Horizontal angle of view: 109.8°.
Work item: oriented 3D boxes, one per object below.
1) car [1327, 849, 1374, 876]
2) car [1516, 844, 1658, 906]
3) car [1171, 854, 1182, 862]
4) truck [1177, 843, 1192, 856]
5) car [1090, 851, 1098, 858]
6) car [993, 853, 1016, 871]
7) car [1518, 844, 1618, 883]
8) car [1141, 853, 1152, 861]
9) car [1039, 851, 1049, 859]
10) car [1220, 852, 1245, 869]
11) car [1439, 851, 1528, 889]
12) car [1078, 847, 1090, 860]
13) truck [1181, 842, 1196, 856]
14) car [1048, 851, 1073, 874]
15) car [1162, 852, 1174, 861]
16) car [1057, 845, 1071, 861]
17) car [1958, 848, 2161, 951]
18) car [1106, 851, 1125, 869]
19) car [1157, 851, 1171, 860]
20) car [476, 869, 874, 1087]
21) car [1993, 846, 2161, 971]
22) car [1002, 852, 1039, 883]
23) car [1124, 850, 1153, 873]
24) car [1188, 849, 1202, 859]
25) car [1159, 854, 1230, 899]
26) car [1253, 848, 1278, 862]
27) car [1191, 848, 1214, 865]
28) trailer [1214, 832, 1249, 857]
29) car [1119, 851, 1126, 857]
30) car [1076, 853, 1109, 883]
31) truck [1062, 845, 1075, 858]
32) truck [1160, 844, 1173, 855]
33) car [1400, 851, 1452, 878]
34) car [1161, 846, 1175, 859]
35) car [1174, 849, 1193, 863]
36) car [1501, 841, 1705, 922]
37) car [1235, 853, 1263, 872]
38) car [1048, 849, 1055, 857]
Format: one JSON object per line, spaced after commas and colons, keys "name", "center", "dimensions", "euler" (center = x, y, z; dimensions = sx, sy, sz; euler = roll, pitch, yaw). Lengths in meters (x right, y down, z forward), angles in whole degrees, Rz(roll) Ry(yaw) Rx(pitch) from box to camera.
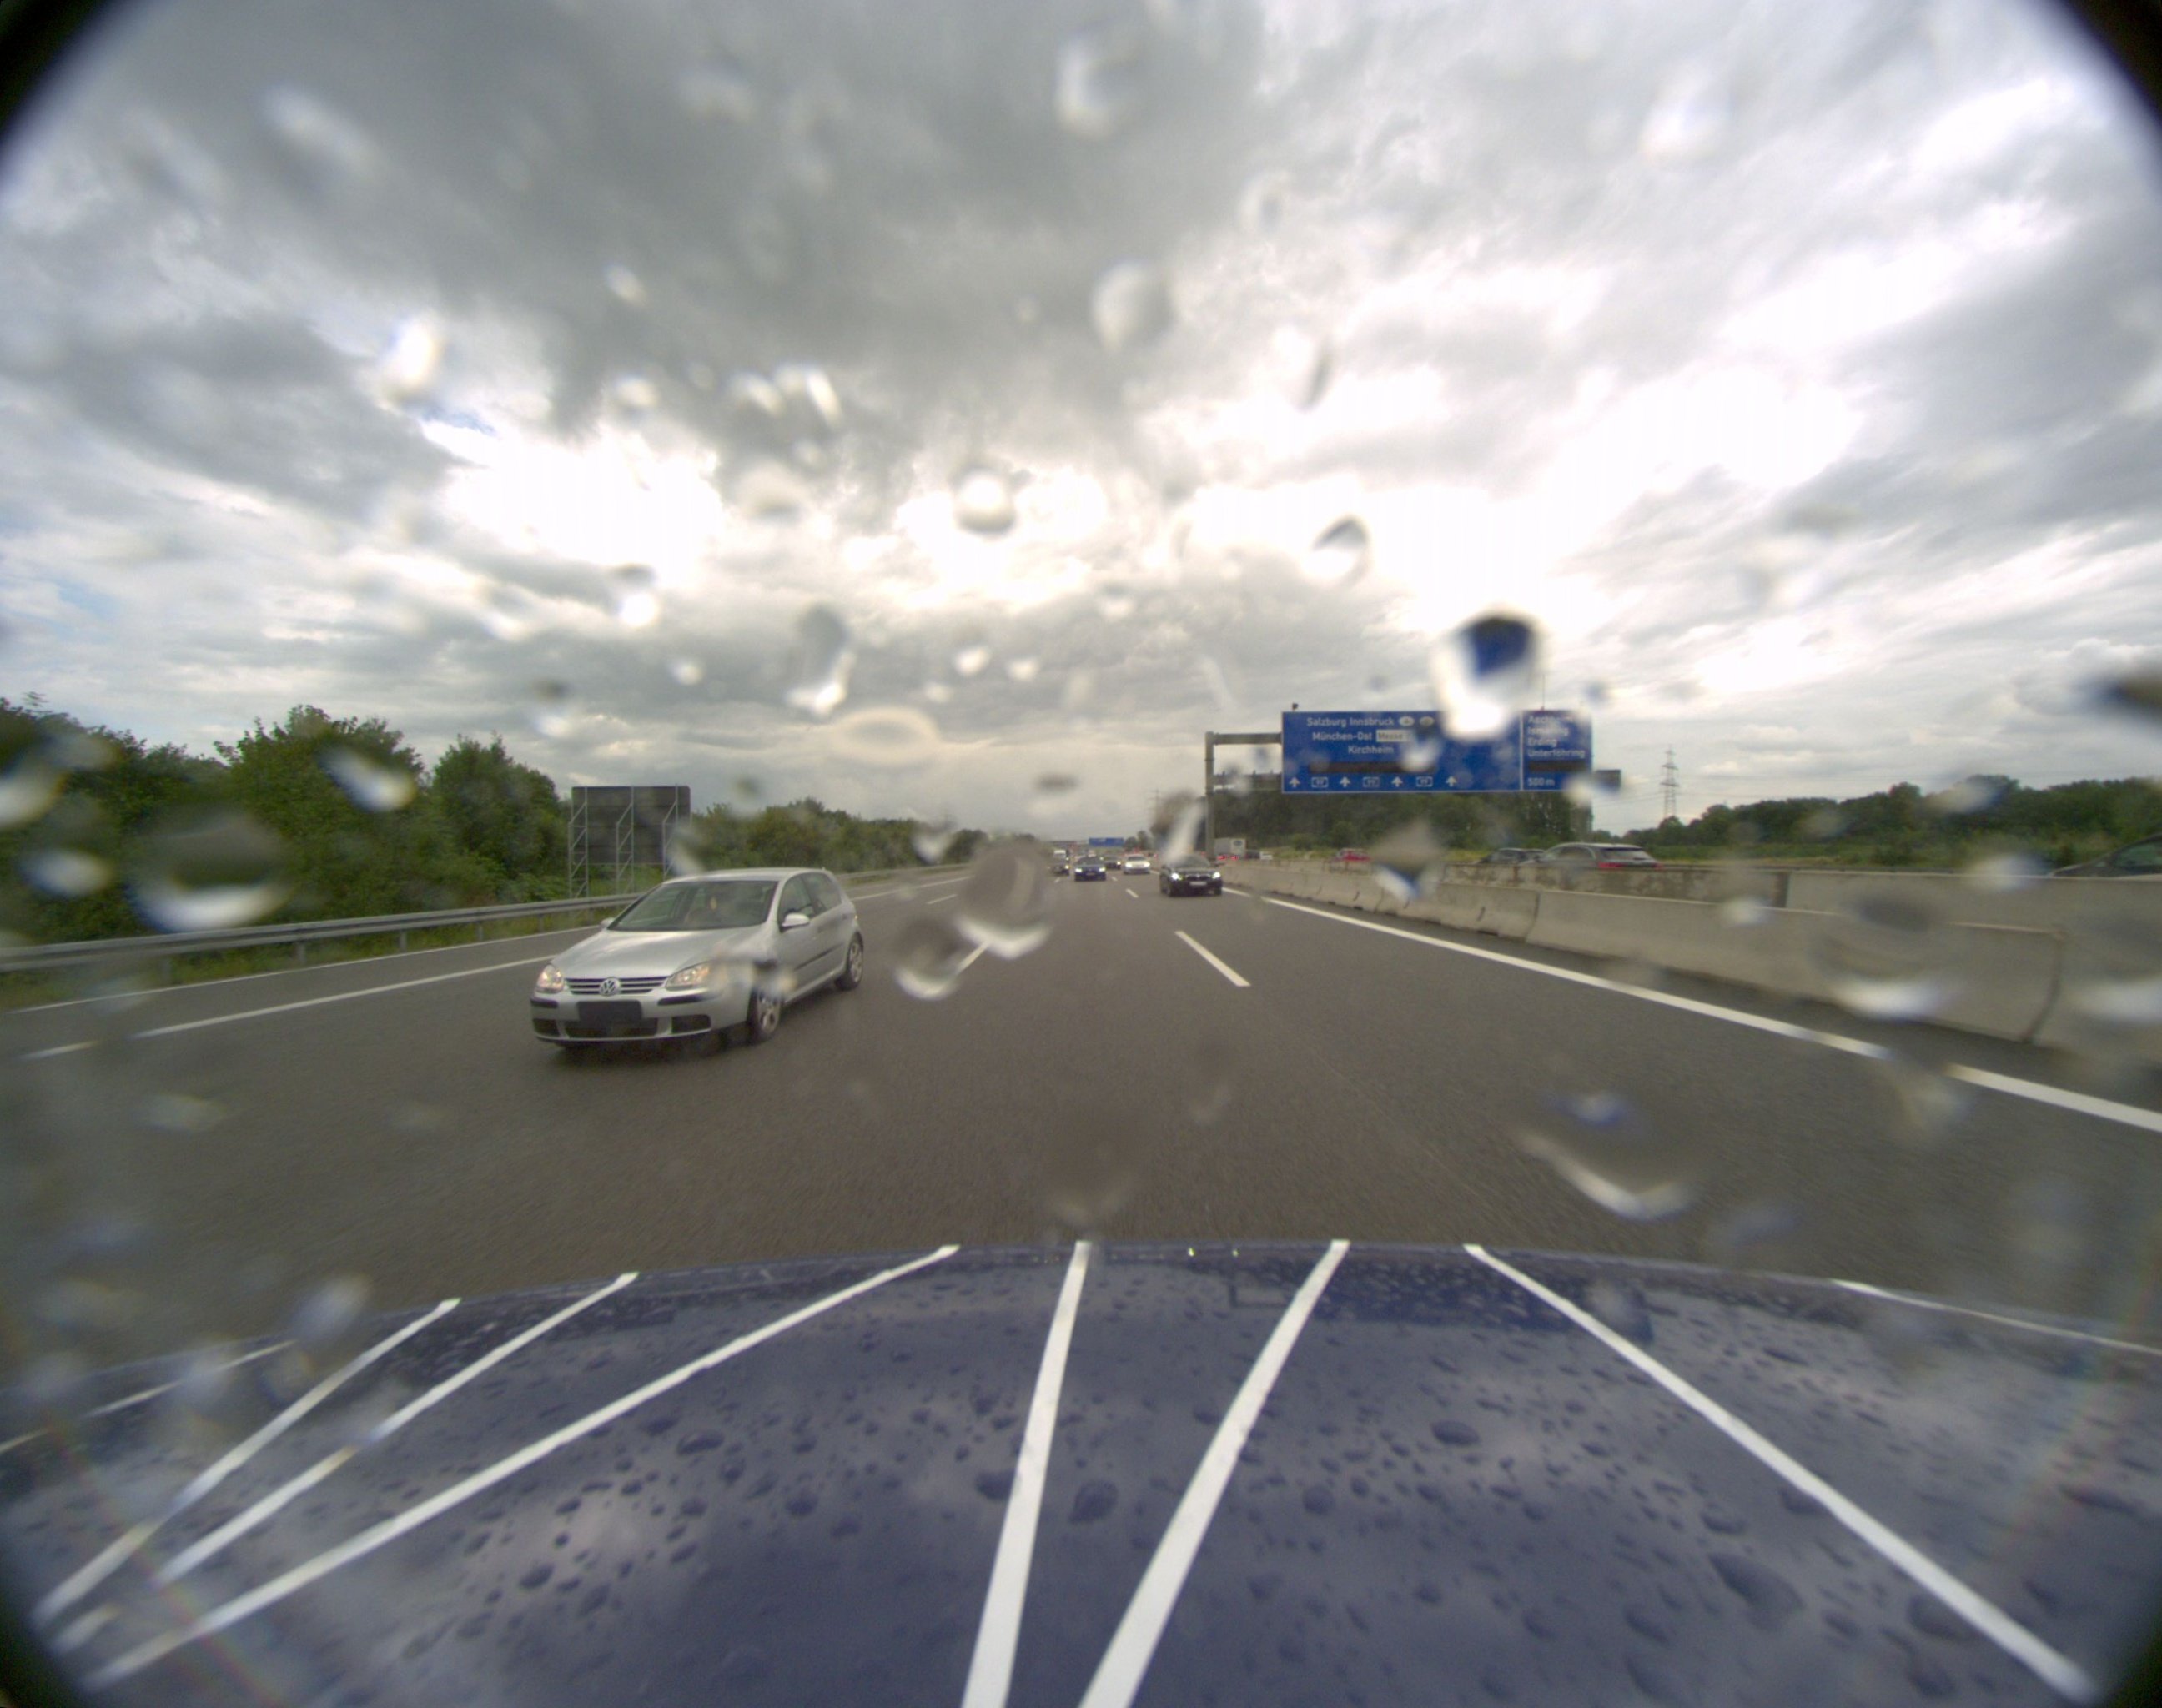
{"name": "car", "center": [18.359, 0.548, 52.012], "dimensions": [1.682, 1.735, 4.337], "euler": [-2, 0, 0]}
{"name": "car", "center": [18.234, 0.705, 27.712], "dimensions": [1.998, 2.002, 4.764], "euler": [-2, 0, 1]}
{"name": "car", "center": [21.748, 0.846, 173.053], "dimensions": [1.999, 1.704, 4.698], "euler": [-2, 0, 0]}
{"name": "truck", "center": [29.680, -1.363, 218.728], "dimensions": [2.885, 3.591, 10.311], "euler": [-2, 0, 1]}
{"name": "car", "center": [3.606, 0.080, 211.358], "dimensions": [1.998, 2.002, 4.751], "euler": [-2, 0, 1]}
{"name": "car", "center": [-7.268, 0.713, 72.207], "dimensions": [1.815, 1.589, 4.694], "euler": [-2, 0, -2]}
{"name": "car", "center": [26.851, 0.488, 42.155], "dimensions": [2.248, 1.941, 5.225], "euler": [-2, 0, 1]}
{"name": "car", "center": [13.930, 0.596, 162.624], "dimensions": [1.999, 1.739, 4.000], "euler": [-2, 0, 0]}
{"name": "car", "center": [-7.800, 0.176, 160.531], "dimensions": [1.892, 1.740, 4.000], "euler": [-2, 0, 1]}
{"name": "car", "center": [15.118, 0.608, 75.972], "dimensions": [1.733, 1.586, 4.000], "euler": [-2, 0, 0]}
{"name": "car", "center": [22.511, 0.828, 42.763], "dimensions": [2.248, 1.941, 5.225], "euler": [-2, 0, 1]}
{"name": "car", "center": [0.619, -0.067, 144.434], "dimensions": [2.145, 2.486, 5.447], "euler": [-2, 0, 0]}
{"name": "truck", "center": [29.572, -1.349, 209.547], "dimensions": [2.885, 3.591, 9.580], "euler": [-2, 0, 1]}
{"name": "car", "center": [-1.539, 0.617, 58.334], "dimensions": [1.711, 1.621, 4.457], "euler": [-2, 0, 1]}
{"name": "car", "center": [18.754, 0.506, 163.256], "dimensions": [1.999, 1.704, 4.698], "euler": [-2, 0, 0]}
{"name": "car", "center": [-2.901, -0.167, 130.142], "dimensions": [2.145, 2.486, 5.447], "euler": [-2, 0, -1]}
{"name": "car", "center": [21.770, 0.870, 15.386], "dimensions": [1.998, 1.941, 5.225], "euler": [-2, 0, 1]}
{"name": "car", "center": [3.320, 0.561, 73.504], "dimensions": [1.711, 1.621, 4.000], "euler": [-2, 0, 1]}
{"name": "car", "center": [15.271, 0.289, 139.849], "dimensions": [1.999, 1.704, 4.871], "euler": [-2, 0, 0]}
{"name": "car", "center": [-3.537, 0.956, 7.618], "dimensions": [1.800, 1.468, 4.037], "euler": [-2, 0, -1]}
{"name": "car", "center": [18.128, 0.866, 11.672], "dimensions": [1.998, 1.941, 5.225], "euler": [-2, 0, 1]}
{"name": "car", "center": [-3.320, 0.699, 42.611], "dimensions": [1.785, 1.603, 4.597], "euler": [-2, 0, -2]}
{"name": "car", "center": [4.185, 0.555, 55.852], "dimensions": [1.822, 1.565, 4.000], "euler": [-2, 0, 1]}
{"name": "car", "center": [22.195, -0.086, 147.965], "dimensions": [1.998, 1.862, 5.392], "euler": [-2, 0, 0]}
{"name": "car", "center": [3.900, 0.739, 26.725], "dimensions": [1.923, 1.407, 4.000], "euler": [-1, 0, 1]}
{"name": "car", "center": [26.651, 0.157, 110.073], "dimensions": [2.437, 1.941, 4.828], "euler": [-2, 0, 1]}
{"name": "car", "center": [14.886, 0.270, 93.343], "dimensions": [1.998, 2.002, 4.760], "euler": [-2, 0, 0]}
{"name": "trailer", "center": [26.060, -1.591, 132.699], "dimensions": [3.247, 4.005, 13.807], "euler": [-2, 0, 0]}
{"name": "car", "center": [13.661, -0.027, 249.590], "dimensions": [1.999, 1.955, 4.696], "euler": [-2, 0, -1]}
{"name": "car", "center": [0.622, 0.731, 42.184], "dimensions": [1.711, 1.562, 4.346], "euler": [-2, 0, 1]}
{"name": "truck", "center": [-2.835, -0.516, 171.385], "dimensions": [2.392, 2.726, 6.591], "euler": [-2, 0, -3]}
{"name": "truck", "center": [25.997, -1.239, 231.792], "dimensions": [2.917, 3.271, 9.200], "euler": [-2, 0, 0]}
{"name": "car", "center": [26.721, 0.786, 59.033], "dimensions": [1.913, 2.002, 4.561], "euler": [-2, 0, 0]}
{"name": "car", "center": [22.053, -0.435, 192.671], "dimensions": [2.667, 3.258, 6.561], "euler": [-2, 0, -1]}
{"name": "car", "center": [14.684, 0.261, 108.984], "dimensions": [1.998, 1.880, 4.362], "euler": [-2, 0, 0]}
{"name": "car", "center": [14.511, 0.686, 21.628], "dimensions": [2.248, 1.941, 5.225], "euler": [-2, 0, 1]}
{"name": "car", "center": [18.172, 0.883, 82.341], "dimensions": [1.998, 2.002, 4.760], "euler": [-2, 0, 0]}
{"name": "car", "center": [-8.007, -0.288, 206.386], "dimensions": [1.999, 2.002, 4.354], "euler": [-2, 0, -2]}
